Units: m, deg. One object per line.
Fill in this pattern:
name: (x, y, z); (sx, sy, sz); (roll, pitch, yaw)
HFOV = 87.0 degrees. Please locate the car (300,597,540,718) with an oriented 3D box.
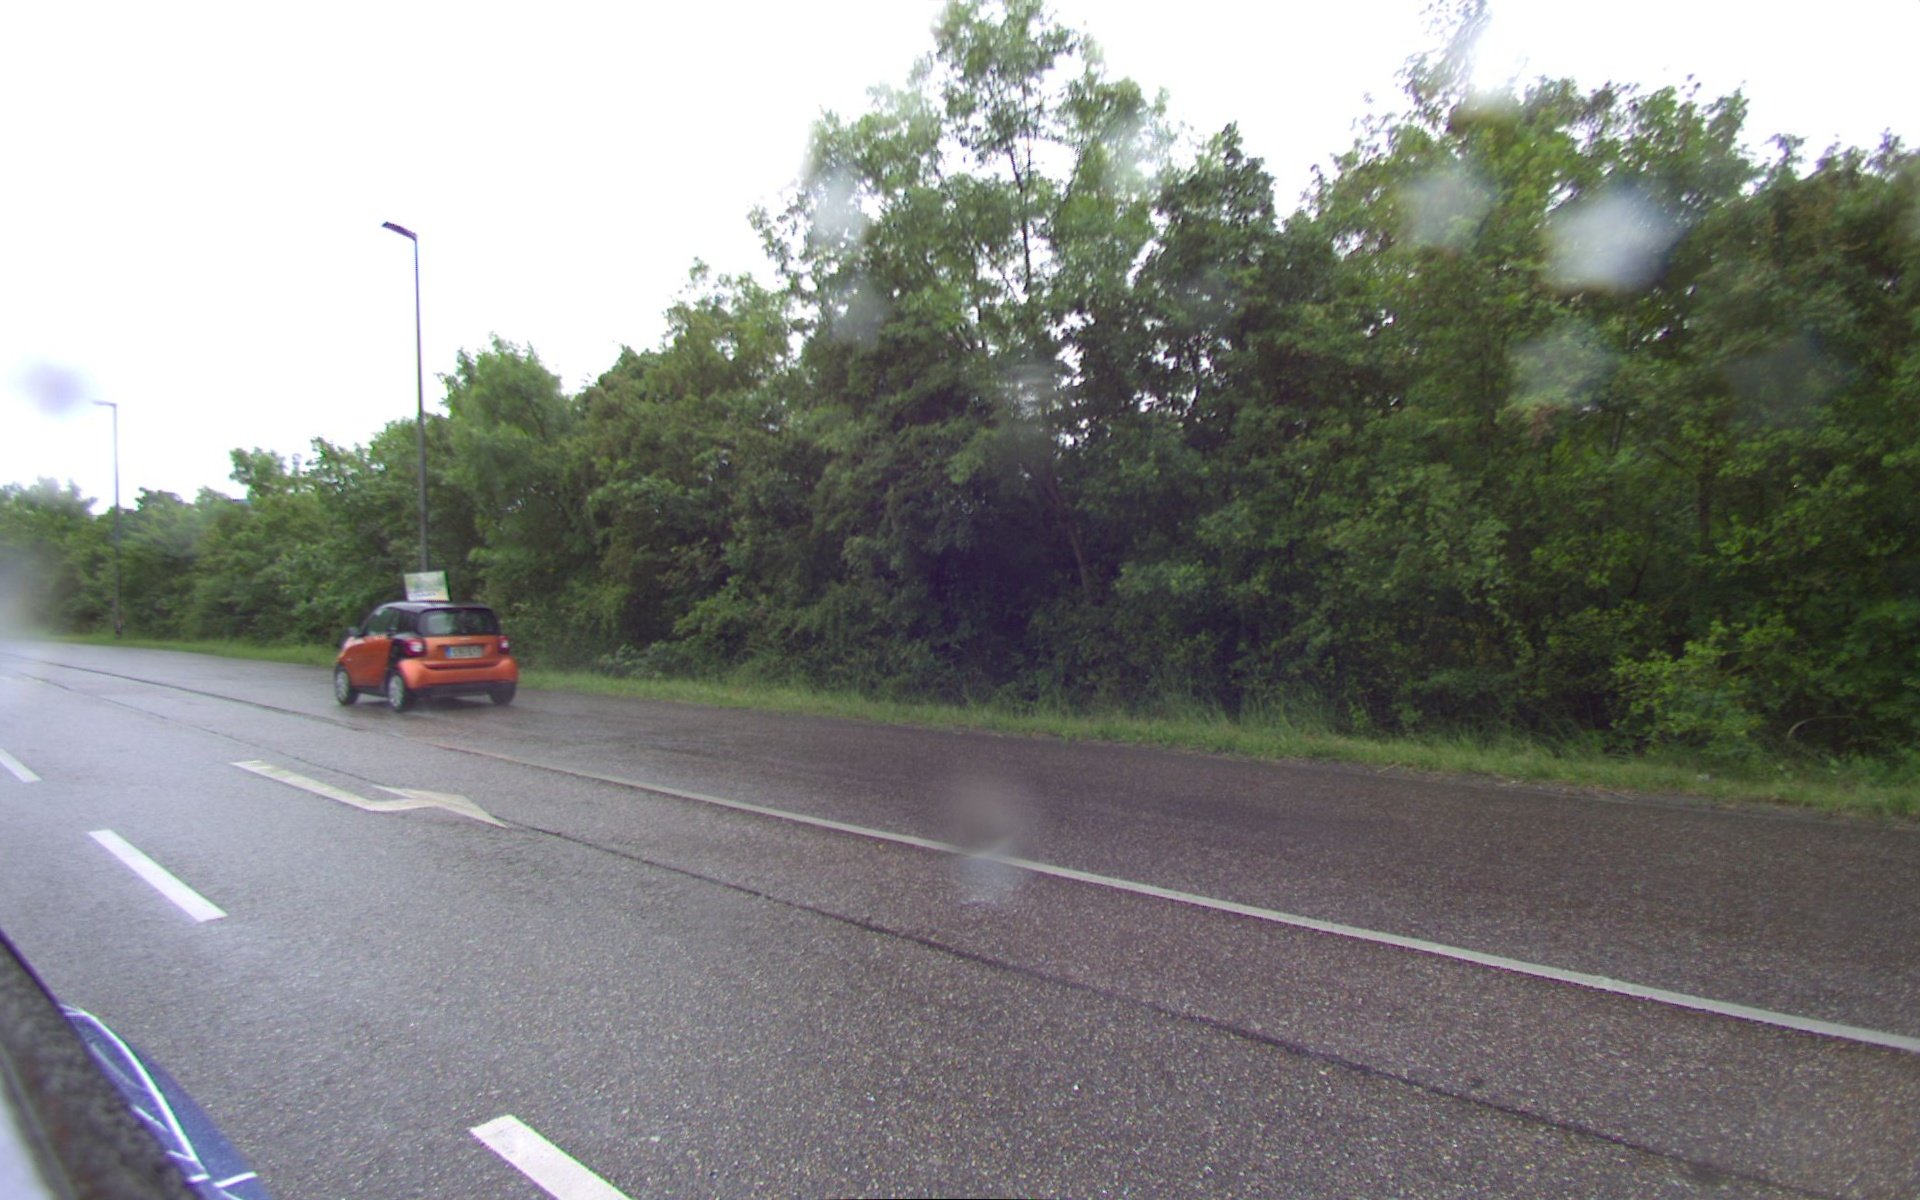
car: (-8.339, 0.760, 15.512); (3.998, 1.597, 1.973); (0, 0, 41)
